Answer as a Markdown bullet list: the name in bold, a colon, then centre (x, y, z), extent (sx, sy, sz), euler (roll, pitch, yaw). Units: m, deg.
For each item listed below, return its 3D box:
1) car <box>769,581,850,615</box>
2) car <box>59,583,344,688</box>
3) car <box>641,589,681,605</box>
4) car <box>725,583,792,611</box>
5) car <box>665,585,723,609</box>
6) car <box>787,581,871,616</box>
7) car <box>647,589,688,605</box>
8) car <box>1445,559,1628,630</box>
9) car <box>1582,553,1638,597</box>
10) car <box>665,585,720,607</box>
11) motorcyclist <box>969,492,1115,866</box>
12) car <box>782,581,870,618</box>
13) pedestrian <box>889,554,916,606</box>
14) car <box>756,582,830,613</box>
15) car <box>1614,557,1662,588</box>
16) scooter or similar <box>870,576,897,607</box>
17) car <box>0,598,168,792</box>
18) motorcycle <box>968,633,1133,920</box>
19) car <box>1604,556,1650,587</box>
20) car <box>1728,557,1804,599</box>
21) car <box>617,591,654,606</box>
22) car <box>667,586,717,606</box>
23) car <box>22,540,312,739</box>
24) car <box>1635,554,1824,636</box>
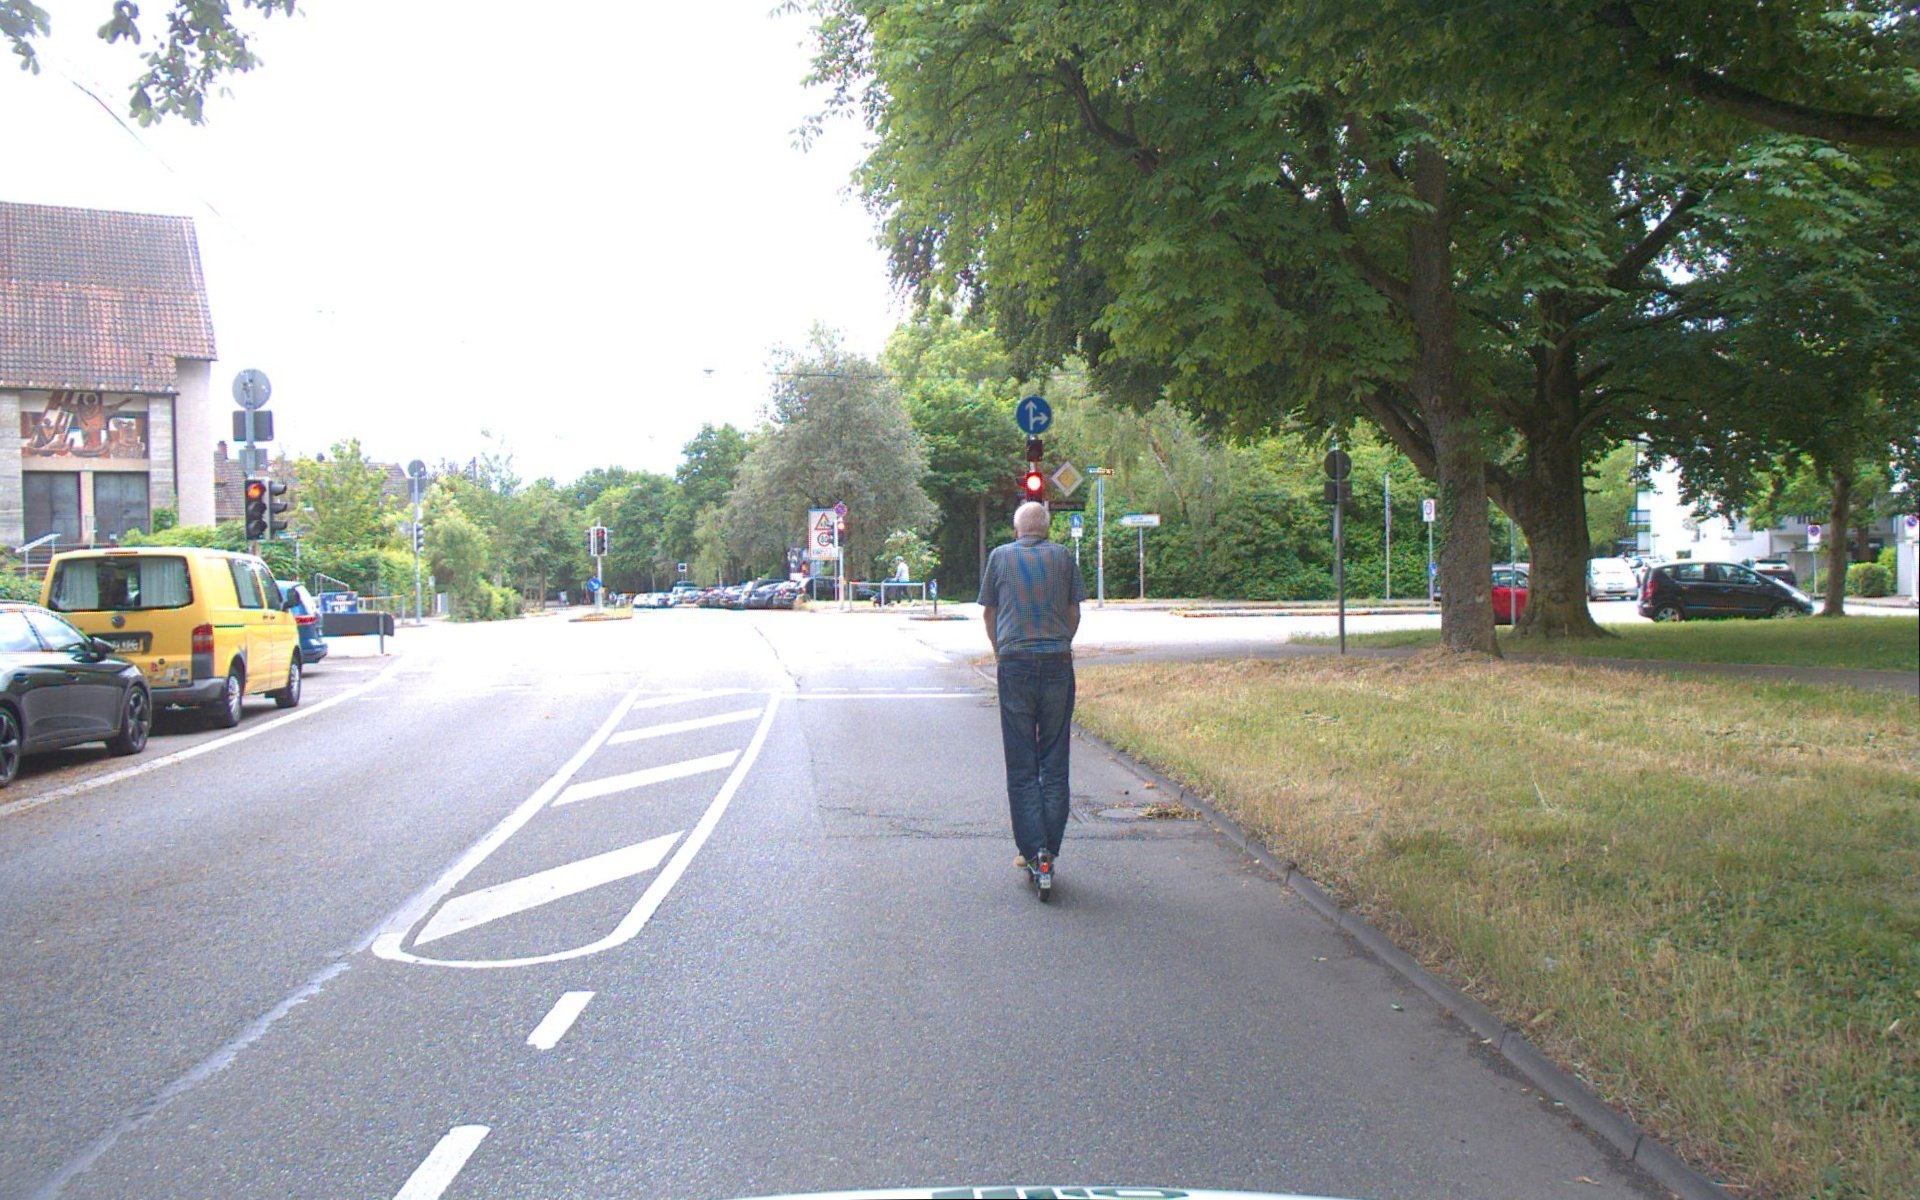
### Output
- **car**: centre (-7.556, -0.102, 82.910), extent (3.912, 1.536, 1.797), euler (-2, 1, -8)
- **car**: centre (-12.490, 0.554, 27.465), extent (3.915, 1.536, 1.796), euler (-1, 3, -10)
- **car**: centre (-30.887, -0.330, 170.828), extent (3.912, 1.536, 1.797), euler (-2, 1, -8)
- **car**: centre (-12.188, -0.194, 100.105), extent (3.912, 1.536, 1.797), euler (-2, 1, -8)
- **car**: centre (-18.697, -0.253, 116.255), extent (3.912, 1.536, 1.797), euler (-2, 1, -8)
- **car**: centre (-6.305, -0.079, 79.451), extent (3.912, 1.536, 1.797), euler (-2, 1, -8)
- **car**: centre (-29.334, -0.299, 166.127), extent (3.912, 1.536, 1.797), euler (-2, 1, -8)
- **car**: centre (13.988, -0.154, 40.331), extent (3.902, 1.584, 1.802), euler (0, 4, 8)
- **car**: centre (23.939, -0.934, 60.821), extent (1.758, 1.536, 3.999), euler (-1, 0, 24)
- **car**: centre (-19.772, -0.313, 122.546), extent (3.912, 1.536, 1.797), euler (-2, 1, -8)
- **motorcyclist**: centre (0.397, 0.376, 8.249), extent (0.659, 1.792, 0.638), euler (0, 0, -4)
- **car**: centre (-6.147, -0.052, 75.876), extent (3.912, 1.536, 1.797), euler (-2, 1, -8)
- **pedestrian**: centre (-1.998, -0.692, 57.260), extent (0.716, 1.792, 0.662), euler (-1, 0, 15)
- **car**: centre (-9.071, -0.153, 89.659), extent (3.912, 1.536, 1.797), euler (-2, 1, -8)
- **car**: centre (34.986, -1.420, 85.421), extent (1.756, 1.536, 4.003), euler (-1, 0, 14)
- **scooter or similar**: centre (-2.664, -0.308, 57.591), extent (0.695, 1.067, 0.788), euler (-1, 0, 15)
- **car**: centre (-8.316, 0.755, 13.732), extent (1.759, 1.440, 4.185), euler (-2, 1, -6)
- **motorcycle**: centre (0.407, 0.801, 8.027), extent (0.659, 1.239, 1.273), euler (0, 1, -3)
- **car**: centre (36.384, -1.553, 90.314), extent (1.756, 1.641, 4.003), euler (-1, 0, 14)
- **car**: centre (30.879, -0.847, 63.496), extent (2.039, 1.536, 4.002), euler (-1, 0, 18)
- **car**: centre (-36.873, -0.143, 187.846), extent (3.912, 1.536, 1.797), euler (-2, 1, -8)
- **car**: centre (-22.067, -0.350, 136.220), extent (3.912, 1.536, 1.797), euler (-2, 1, -8)
- **car**: centre (-9.054, 0.398, 19.328), extent (1.824, 1.998, 4.494), euler (-2, 0, -10)
- **car**: centre (18.136, -0.155, 39.184), extent (3.905, 1.756, 1.801), euler (1, 4, 21)
